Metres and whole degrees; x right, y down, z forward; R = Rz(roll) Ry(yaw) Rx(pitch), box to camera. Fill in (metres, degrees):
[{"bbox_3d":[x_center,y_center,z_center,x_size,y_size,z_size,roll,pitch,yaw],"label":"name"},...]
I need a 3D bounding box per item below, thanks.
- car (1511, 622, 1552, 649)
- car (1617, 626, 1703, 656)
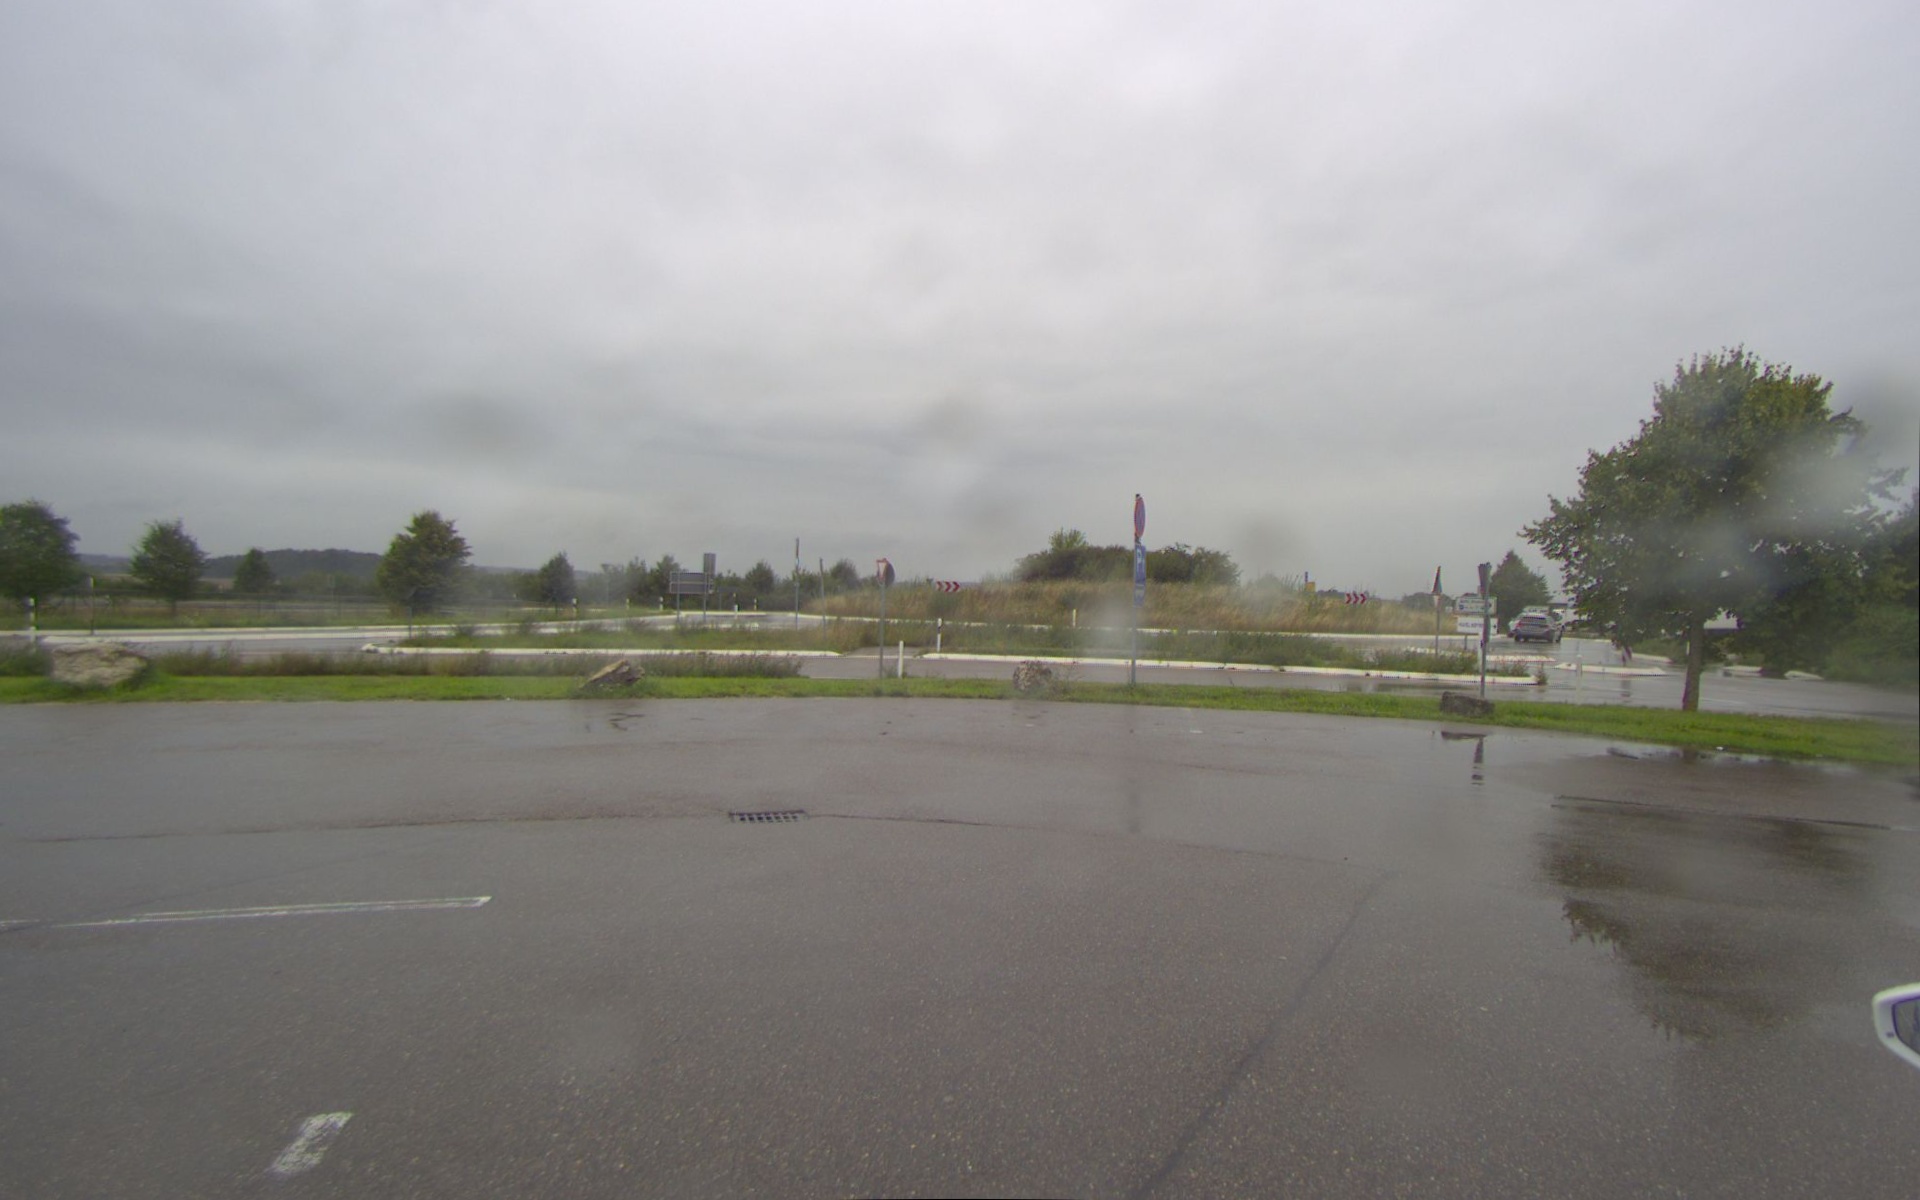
[{"bbox_3d":[31.133,1.926,54.682,1.665,1.343,4.032,1,0,33],"label":"car"},{"bbox_3d":[46.379,2.706,66.646,4.278,1.782,1.750,2,-1,12],"label":"car"}]
